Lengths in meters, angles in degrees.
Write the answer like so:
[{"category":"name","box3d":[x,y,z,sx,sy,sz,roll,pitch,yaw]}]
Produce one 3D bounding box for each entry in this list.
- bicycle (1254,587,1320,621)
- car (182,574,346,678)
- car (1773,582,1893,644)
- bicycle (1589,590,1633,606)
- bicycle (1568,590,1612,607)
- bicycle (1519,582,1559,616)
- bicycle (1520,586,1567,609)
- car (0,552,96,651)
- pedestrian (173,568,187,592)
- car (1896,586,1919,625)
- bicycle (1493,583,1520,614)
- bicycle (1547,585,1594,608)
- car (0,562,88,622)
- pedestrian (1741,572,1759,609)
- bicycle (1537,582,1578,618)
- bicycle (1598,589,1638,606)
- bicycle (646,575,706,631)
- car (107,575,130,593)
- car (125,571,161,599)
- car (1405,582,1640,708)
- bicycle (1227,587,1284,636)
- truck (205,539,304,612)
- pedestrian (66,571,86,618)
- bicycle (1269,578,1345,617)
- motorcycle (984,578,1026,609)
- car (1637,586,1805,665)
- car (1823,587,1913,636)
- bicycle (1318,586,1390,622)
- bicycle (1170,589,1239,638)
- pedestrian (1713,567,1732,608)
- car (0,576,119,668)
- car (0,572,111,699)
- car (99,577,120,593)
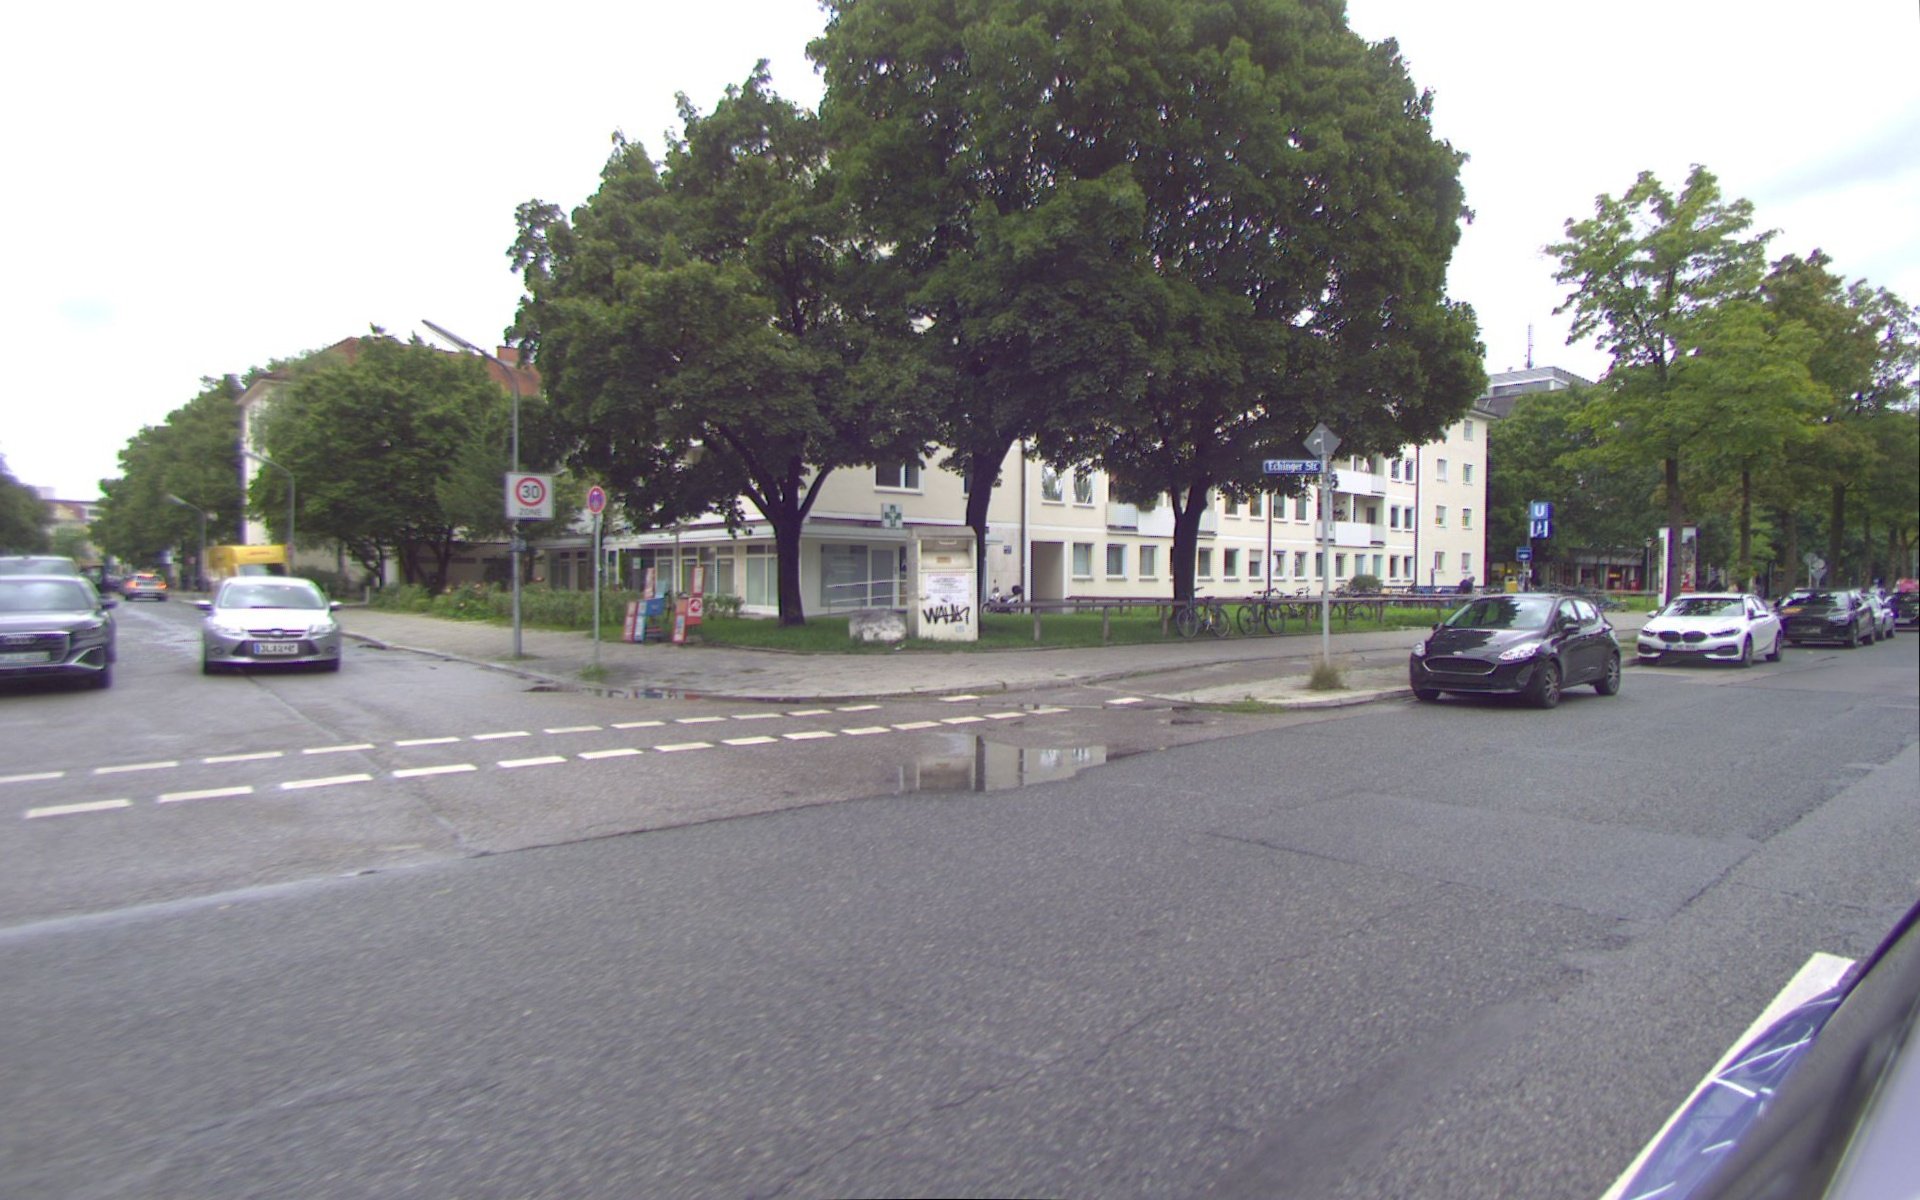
[{"category":"bicycle","box3d":[10.791,0.111,33.420,0.653,1.081,2.028,-1,1,-44]},{"category":"car","box3d":[-11.309,0.317,16.427,1.963,1.460,4.221,-1,1,-36]},{"category":"car","box3d":[23.302,0.276,26.958,4.084,1.530,1.825,-1,1,-40]},{"category":"bicycle","box3d":[29.123,-0.108,45.303,0.490,0.704,1.596,-1,1,-44]},{"category":"bicycle","box3d":[28.167,-0.081,45.253,0.490,0.645,1.597,-1,4,-44]},{"category":"bicycle","box3d":[20.507,-0.049,35.852,2.039,1.203,0.545,-1,1,-39]},{"category":"bicycle","box3d":[23.884,-0.105,41.447,0.490,0.927,1.596,0,1,-44]},{"category":"car","box3d":[-19.918,-0.021,21.796,1.965,1.909,4.993,-1,1,-41]},{"category":"pedestrian","box3d":[-65.770,-1.708,85.354,0.892,2.039,1.078,0,1,-39]},{"category":"car","box3d":[35.653,0.179,36.907,4.226,1.397,1.825,-1,1,-41]},{"category":"bicycle","box3d":[19.995,-0.066,37.019,1.231,1.130,0.466,-1,1,-39]},{"category":"bicycle","box3d":[25.850,-0.165,42.853,0.490,0.927,1.596,0,2,-44]},{"category":"car","box3d":[-30.234,-0.297,33.149,4.984,1.808,2.122,1,1,44]},{"category":"pedestrian","box3d":[34.201,-0.414,43.818,0.555,1.624,0.515,0,1,31]},{"category":"bicycle","box3d":[20.435,-0.029,34.603,2.039,1.203,0.545,-1,1,-39]},{"category":"bicycle","box3d":[29.702,-0.117,45.700,0.490,0.722,1.390,-1,3,-44]},{"category":"bicycle","box3d":[-6.172,0.050,21.938,0.687,1.170,1.471,0,1,-41]},{"category":"car","box3d":[-77.920,-1.503,93.673,1.572,1.639,3.762,-1,1,-41]},{"category":"car","box3d":[-49.459,-0.918,61.260,1.572,1.639,3.762,-1,1,-41]},{"category":"car","box3d":[7.840,0.520,13.959,3.887,1.495,1.647,0,0,-41]},{"category":"bicycle","box3d":[6.925,0.254,23.681,1.739,1.068,0.470,-1,4,-44]},{"category":"truck","box3d":[-29.300,-1.046,41.919,2.239,2.805,6.750,-3,3,-44]},{"category":"pedestrian","box3d":[-29.800,-0.200,34.125,0.486,1.552,0.733,0,1,-40]},{"category":"bicycle","box3d":[10.114,-0.089,29.540,0.653,1.081,2.028,-1,1,-44]},{"category":"motorcycle","box3d":[1.694,-0.268,37.844,1.593,1.134,0.606,-1,1,-39]},{"category":"car","box3d":[15.715,0.469,20.827,4.211,1.455,1.825,-1,0,-40]},{"category":"car","box3d":[27.721,0.297,30.854,3.859,1.397,1.616,-1,1,-41]},{"category":"bicycle","box3d":[12.294,0.119,31.636,0.653,1.081,2.028,-1,1,-44]},{"category":"bicycle","box3d":[5.352,0.281,22.086,1.820,1.028,0.448,-1,1,-39]},{"category":"pedestrian","box3d":[33.486,-0.545,44.446,0.555,1.777,0.650,0,1,31]},{"category":"car","box3d":[-16.216,0.311,17.931,1.965,1.460,3.994,-1,1,-41]},{"category":"car","box3d":[-12.769,0.389,13.861,1.700,1.538,3.932,-1,1,-41]},{"category":"car","box3d":[-86.992,-1.558,103.513,1.572,1.639,3.762,-1,1,-41]}]
